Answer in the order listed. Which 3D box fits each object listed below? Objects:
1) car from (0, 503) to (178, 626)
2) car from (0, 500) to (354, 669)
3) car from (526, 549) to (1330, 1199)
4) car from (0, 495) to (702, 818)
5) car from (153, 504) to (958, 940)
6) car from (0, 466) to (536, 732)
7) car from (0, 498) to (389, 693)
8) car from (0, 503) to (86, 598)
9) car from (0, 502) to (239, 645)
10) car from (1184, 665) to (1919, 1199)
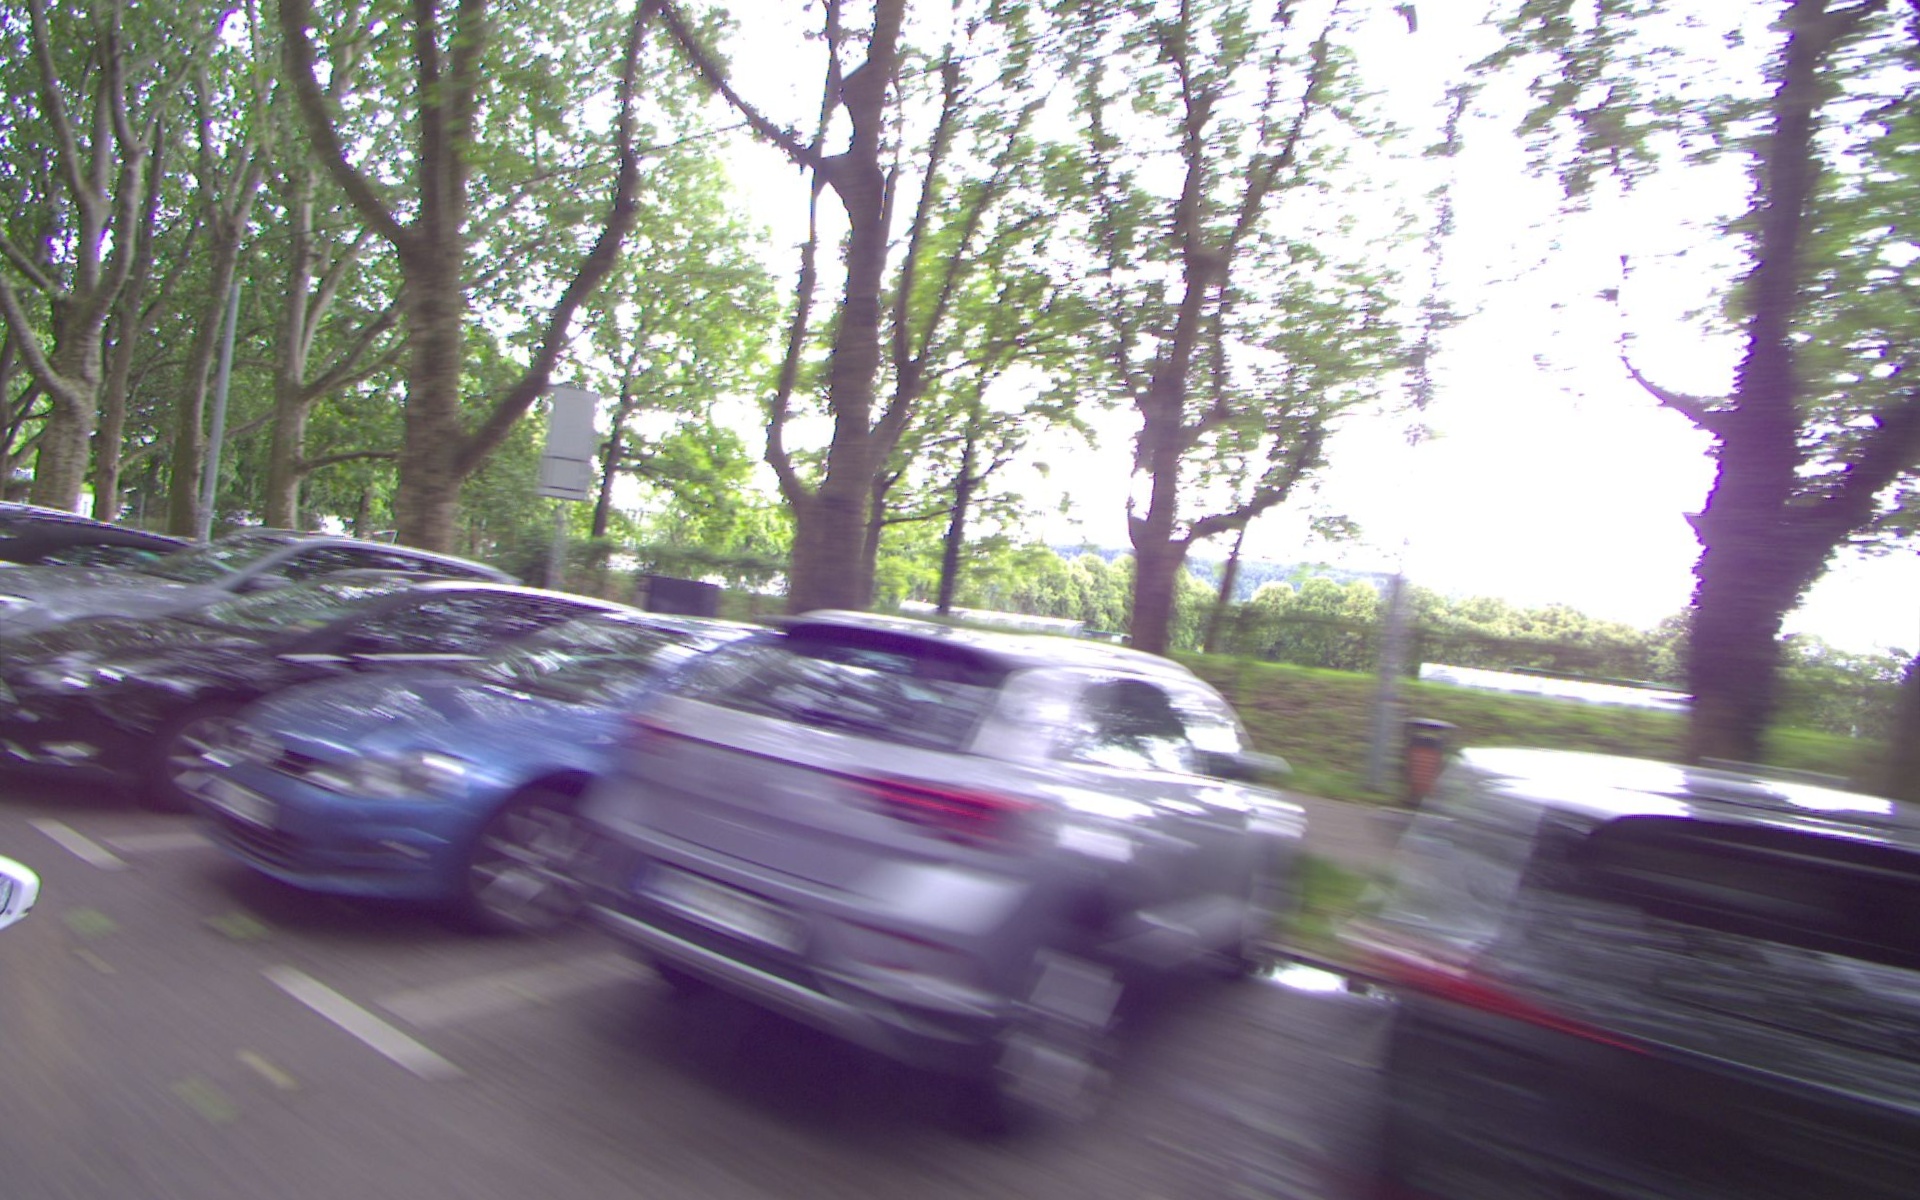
[{"bbox_3d":[-13.856,-0.672,13.937,1.597,1.486,4.377,7,-3,31],"label":"car"},{"bbox_3d":[-9.475,-0.152,11.633,1.598,1.486,3.783,7,-3,34],"label":"car"},{"bbox_3d":[0.348,0.932,4.527,1.666,1.625,3.837,7,-3,31],"label":"car"},{"bbox_3d":[-3.936,0.425,6.813,1.583,1.467,4.222,7,-3,31],"label":"car"},{"bbox_3d":[-1.777,0.600,5.640,1.666,1.472,3.837,7,-3,31],"label":"car"},{"bbox_3d":[-5.973,0.113,8.406,1.667,1.688,4.122,7,-3,33],"label":"car"},{"bbox_3d":[-8.073,-0.046,9.622,1.666,1.486,4.122,7,-3,32],"label":"car"},{"bbox_3d":[-17.615,-1.114,16.468,1.622,1.486,4.625,7,-3,32],"label":"car"},{"bbox_3d":[-11.641,-0.417,12.610,1.639,1.486,3.784,7,-3,32],"label":"car"},{"bbox_3d":[2.143,1.118,3.174,1.666,1.404,3.837,7,-3,31],"label":"car"}]
